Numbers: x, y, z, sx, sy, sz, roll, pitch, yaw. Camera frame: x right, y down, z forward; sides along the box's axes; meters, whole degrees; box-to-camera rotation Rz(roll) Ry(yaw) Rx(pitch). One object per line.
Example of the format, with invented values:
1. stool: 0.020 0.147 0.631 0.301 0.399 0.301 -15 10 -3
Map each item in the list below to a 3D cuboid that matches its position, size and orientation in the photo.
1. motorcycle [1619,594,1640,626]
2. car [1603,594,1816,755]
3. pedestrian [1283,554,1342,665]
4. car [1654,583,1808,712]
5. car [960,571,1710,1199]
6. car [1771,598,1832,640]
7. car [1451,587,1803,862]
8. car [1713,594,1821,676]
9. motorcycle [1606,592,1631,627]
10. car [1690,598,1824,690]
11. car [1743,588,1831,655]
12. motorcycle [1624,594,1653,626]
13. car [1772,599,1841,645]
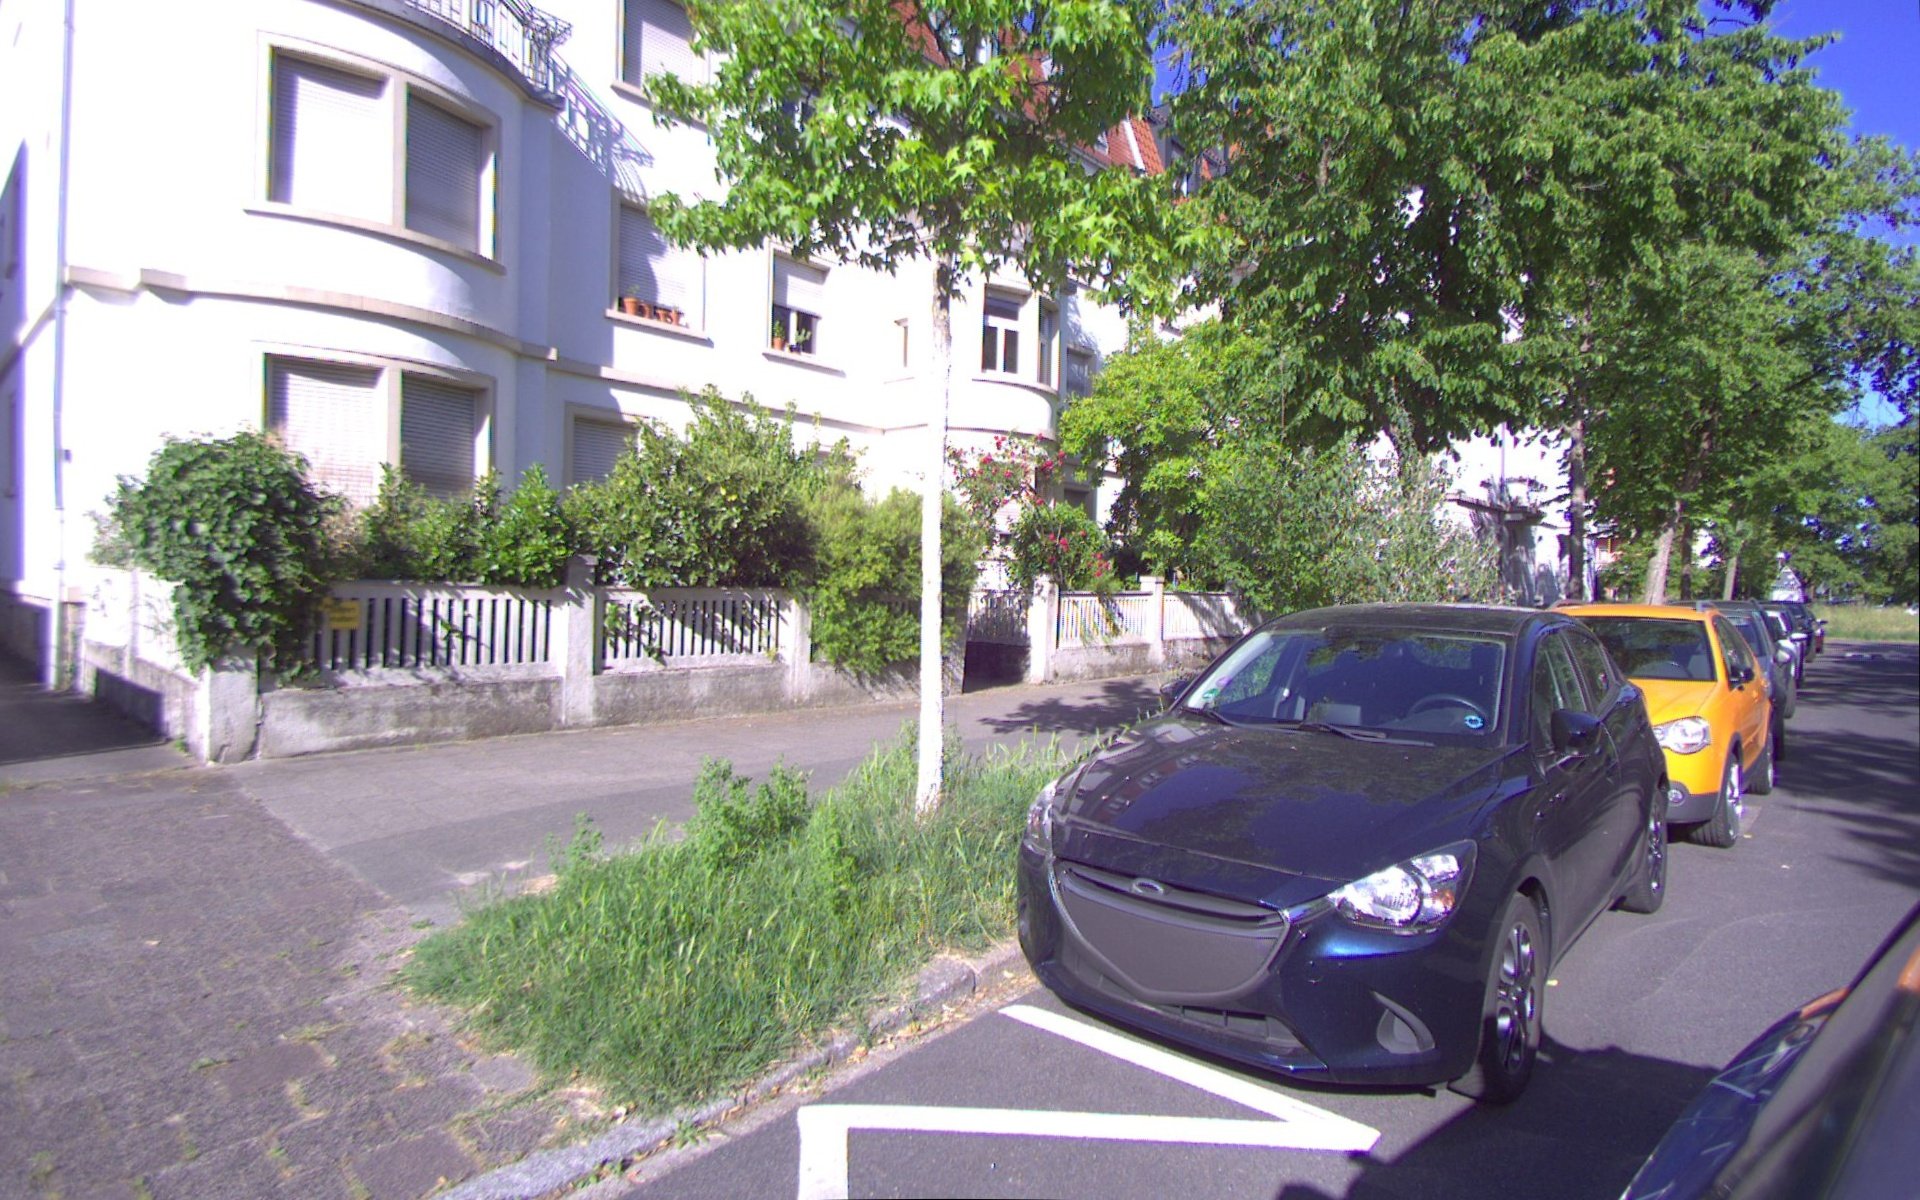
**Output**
1. motorcycle: 28.578 0.429 43.194 0.654 1.295 1.777 4 2 35
2. car: 8.482 0.697 11.364 1.647 1.446 3.560 3 2 40
3. pedestrian: 5.896 0.145 16.907 0.622 1.797 0.787 3 1 42
4. car: 11.658 0.617 15.296 1.646 1.676 3.793 1 1 39
5. car: 1.986 0.668 4.461 1.700 1.467 4.019 3 2 42
6. car: 31.466 0.668 37.802 1.651 1.419 4.074 2 1 41
7. car: 5.187 0.683 7.621 1.636 1.473 4.037 2 1 42
8. car: 17.683 0.690 22.115 1.682 1.608 4.469 -1 -1 40
9. motorcycle: 27.009 0.379 41.478 0.539 1.378 2.058 1 1 42
10. car: 14.761 0.723 18.653 1.629 1.442 4.301 3 2 42
11. car: 23.712 0.572 28.962 1.780 1.719 4.233 2 1 41
12. motorcycle: 29.861 0.417 44.516 0.968 1.345 1.828 1 1 37
13. car: 28.452 0.693 34.099 1.608 1.427 4.291 2 1 38
